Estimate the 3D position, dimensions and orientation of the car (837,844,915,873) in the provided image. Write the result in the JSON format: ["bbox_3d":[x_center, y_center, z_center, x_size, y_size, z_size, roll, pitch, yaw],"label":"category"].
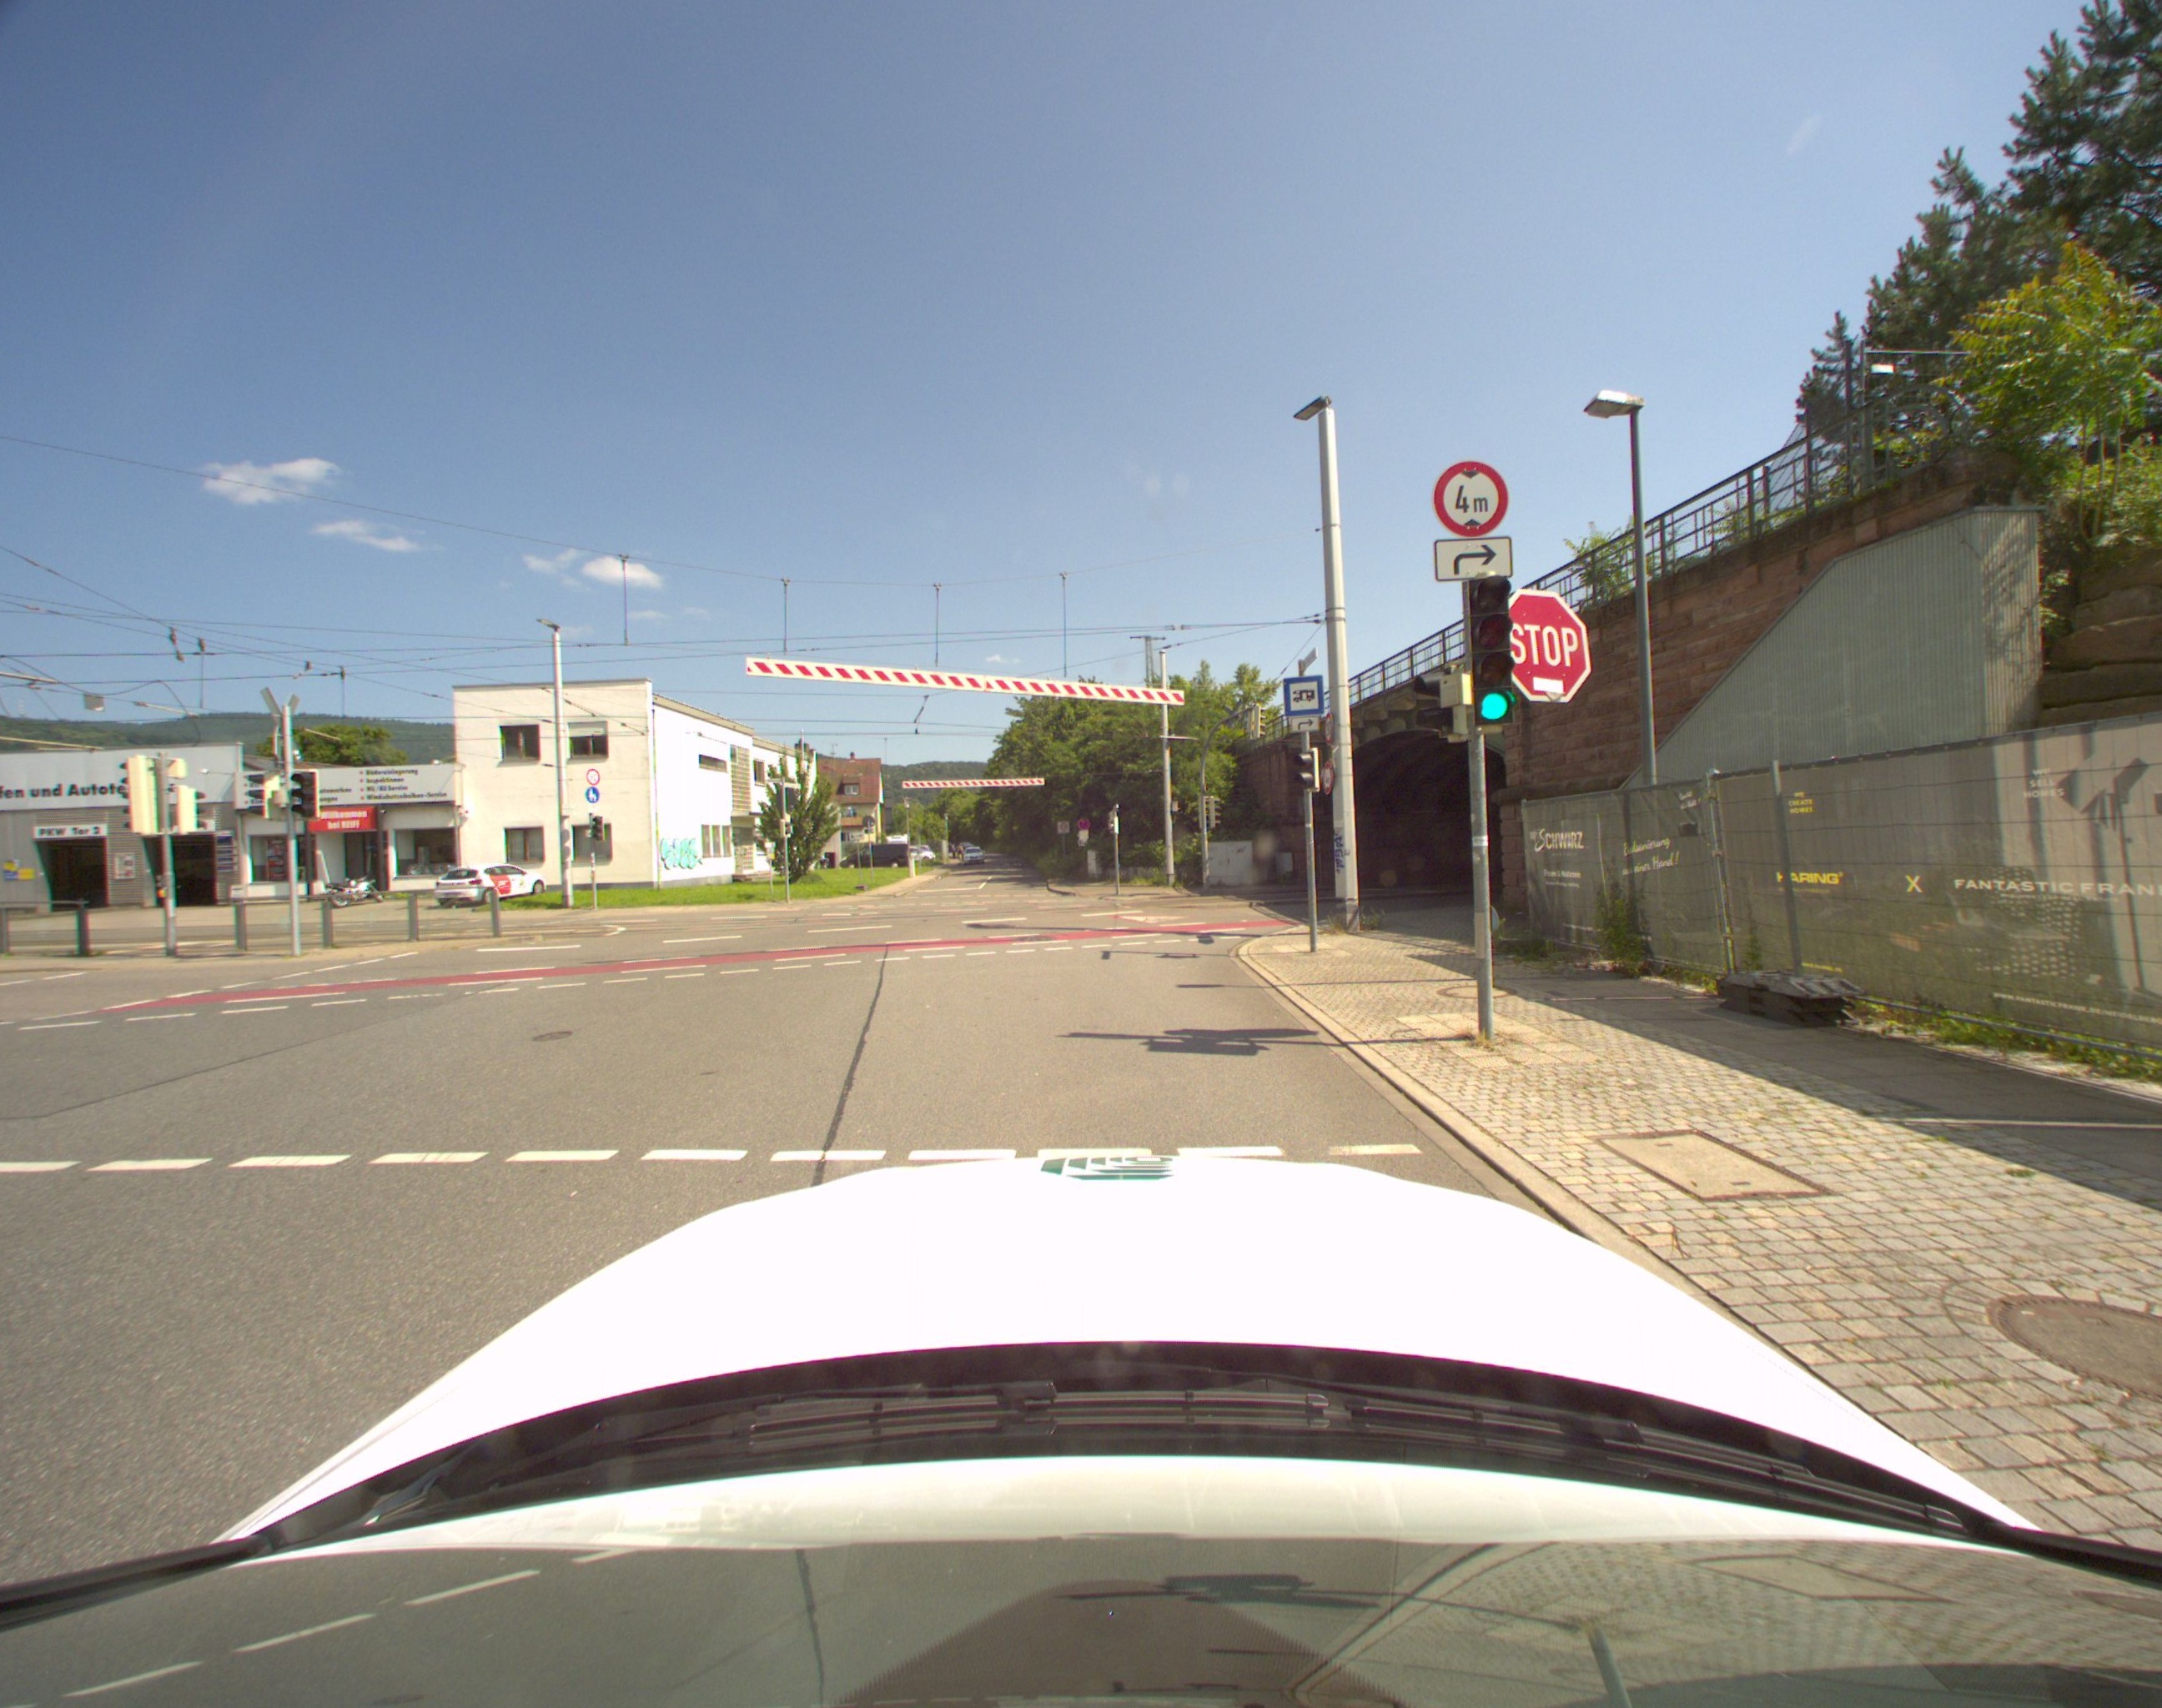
[{"bbox_3d":[-15.093,0.326,60.232,5.244,1.816,1.995,-3,0,-8],"label":"car"}]

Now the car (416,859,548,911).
[{"bbox_3d":[-22.382,1.109,30.662,1.878,1.462,4.001,-2,4,0],"label":"car"}]

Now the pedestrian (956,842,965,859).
[{"bbox_3d":[-12.569,-0.364,84.765,0.875,1.763,0.729,0,-1,-7],"label":"pedestrian"}]

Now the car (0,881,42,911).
[{"bbox_3d":[-52.203,2.066,38.346,1.715,1.376,3.770,-2,1,-3],"label":"car"}]

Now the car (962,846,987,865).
[{"bbox_3d":[-9.324,0.097,71.593,2.084,1.510,4.531,0,1,-6],"label":"car"}]

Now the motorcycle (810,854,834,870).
[{"bbox_3d":[-17.229,0.541,54.163,0.850,1.032,2.564,0,-1,-3],"label":"motorcycle"}]

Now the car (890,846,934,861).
[{"bbox_3d":[-15.439,-0.050,74.377,3.714,1.371,1.601,0,-1,-5],"label":"car"}]

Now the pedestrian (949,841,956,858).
[{"bbox_3d":[-13.399,-0.427,84.770,0.653,1.763,0.802,0,-1,-7],"label":"pedestrian"}]

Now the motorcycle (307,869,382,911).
[{"bbox_3d":[-28.021,1.347,31.050,0.726,1.308,2.191,-3,4,0],"label":"motorcycle"}]

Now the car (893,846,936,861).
[{"bbox_3d":[-15.721,-0.069,77.016,3.714,1.371,1.602,0,-1,-5],"label":"car"}]
